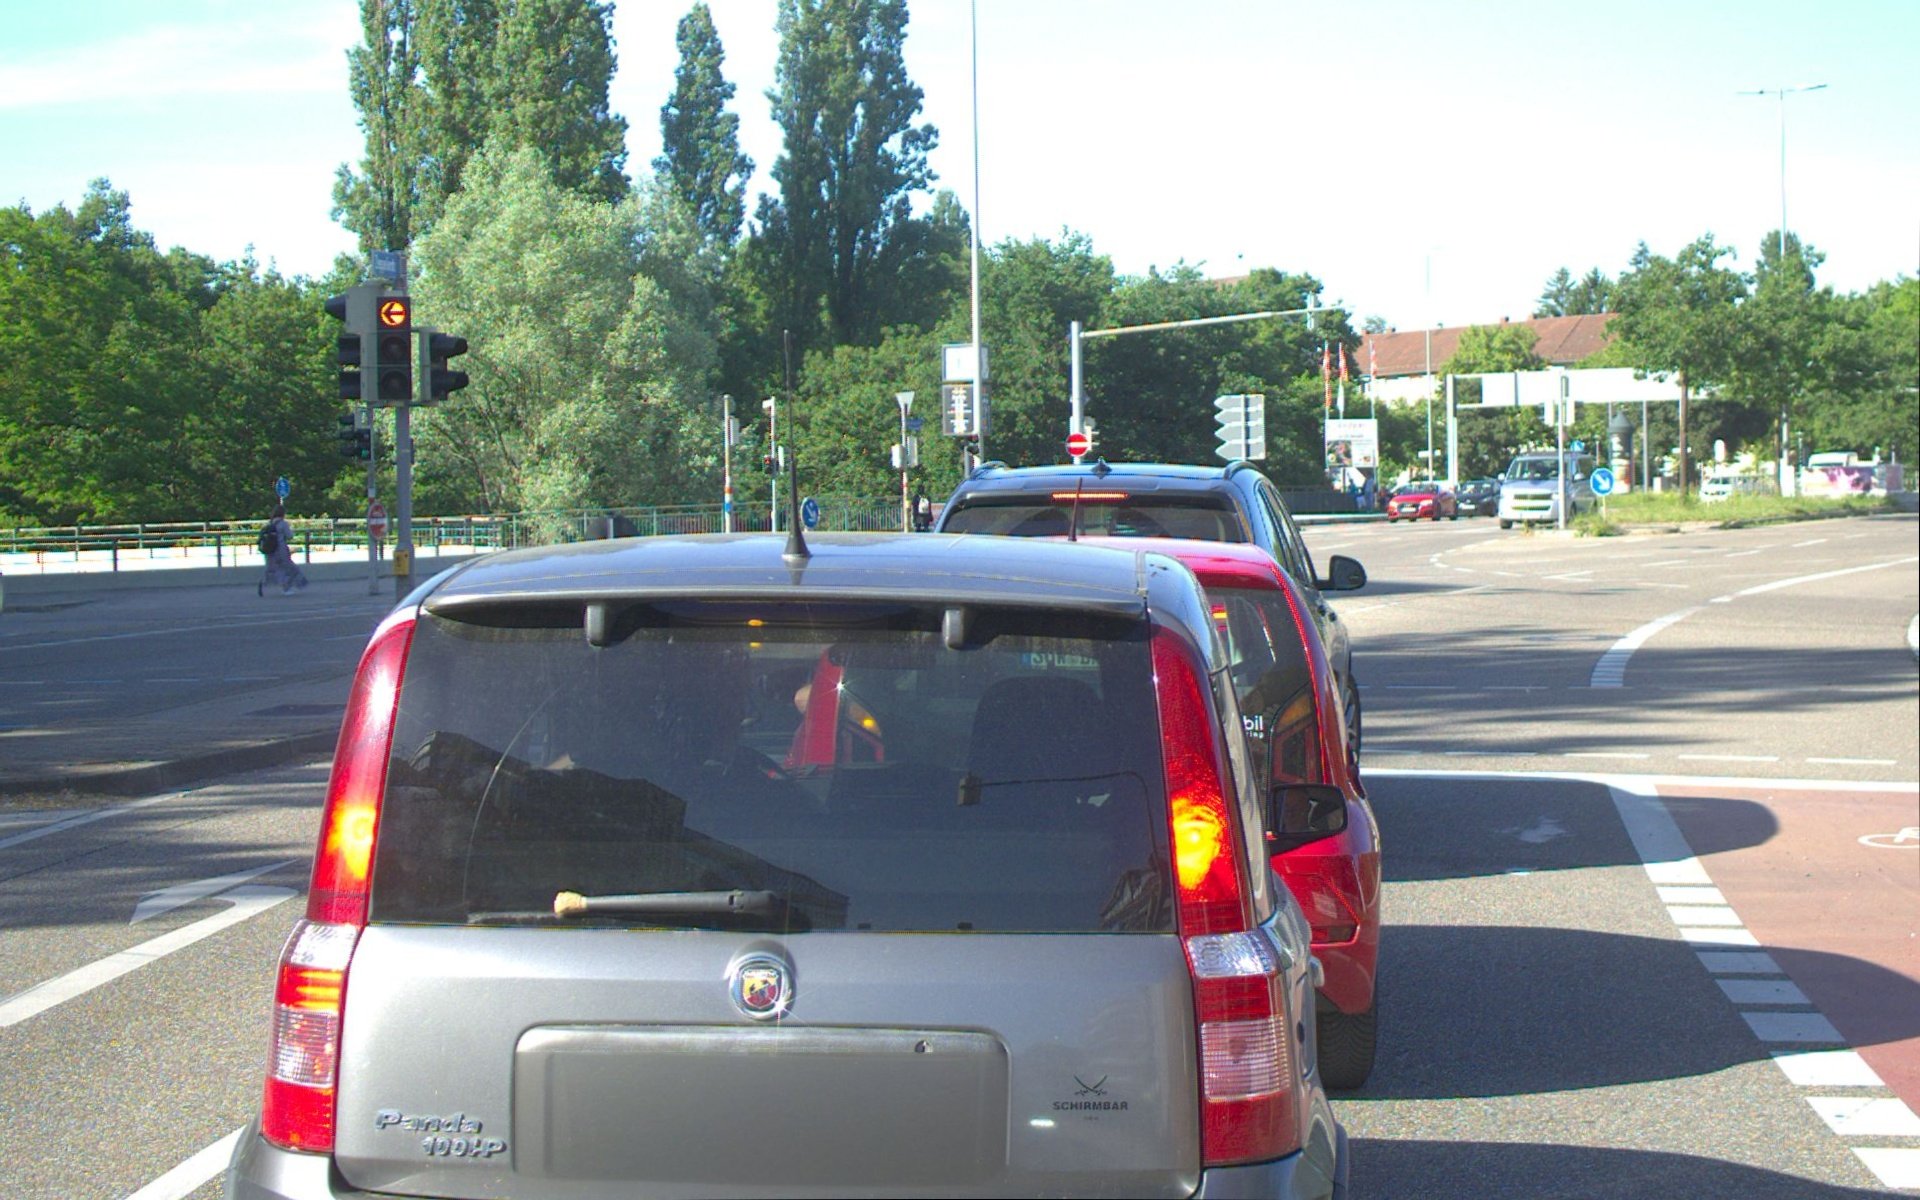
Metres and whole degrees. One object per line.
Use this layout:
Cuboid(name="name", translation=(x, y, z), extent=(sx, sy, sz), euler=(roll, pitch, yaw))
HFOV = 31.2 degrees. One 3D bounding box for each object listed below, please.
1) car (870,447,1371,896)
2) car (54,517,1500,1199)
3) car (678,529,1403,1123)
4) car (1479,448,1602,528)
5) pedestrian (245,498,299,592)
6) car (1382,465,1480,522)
Cuboid(name="car", translation=(0.897, 0.208, 16.091), extent=(1.869, 1.784, 4.413), euler=(1, 2, 9))
Cuboid(name="car", translation=(-0.144, 0.621, 6.360), extent=(1.820, 1.484, 4.000), euler=(2, 2, 3))
Cuboid(name="car", translation=(0.280, 0.529, 10.716), extent=(1.820, 1.474, 4.000), euler=(1, 1, 2))
Cuboid(name="car", translation=(15.177, -2.894, 89.650), extent=(2.015, 1.848, 4.880), euler=(0, -1, 24))
Cuboid(name="pedestrian", translation=(-11.623, -0.920, 58.100), extent=(0.686, 1.533, 1.366), euler=(0, -2, -3))
Cuboid(name="car", translation=(16.860, -3.785, 122.847), extent=(2.016, 1.848, 4.879), euler=(0, -1, 26))
